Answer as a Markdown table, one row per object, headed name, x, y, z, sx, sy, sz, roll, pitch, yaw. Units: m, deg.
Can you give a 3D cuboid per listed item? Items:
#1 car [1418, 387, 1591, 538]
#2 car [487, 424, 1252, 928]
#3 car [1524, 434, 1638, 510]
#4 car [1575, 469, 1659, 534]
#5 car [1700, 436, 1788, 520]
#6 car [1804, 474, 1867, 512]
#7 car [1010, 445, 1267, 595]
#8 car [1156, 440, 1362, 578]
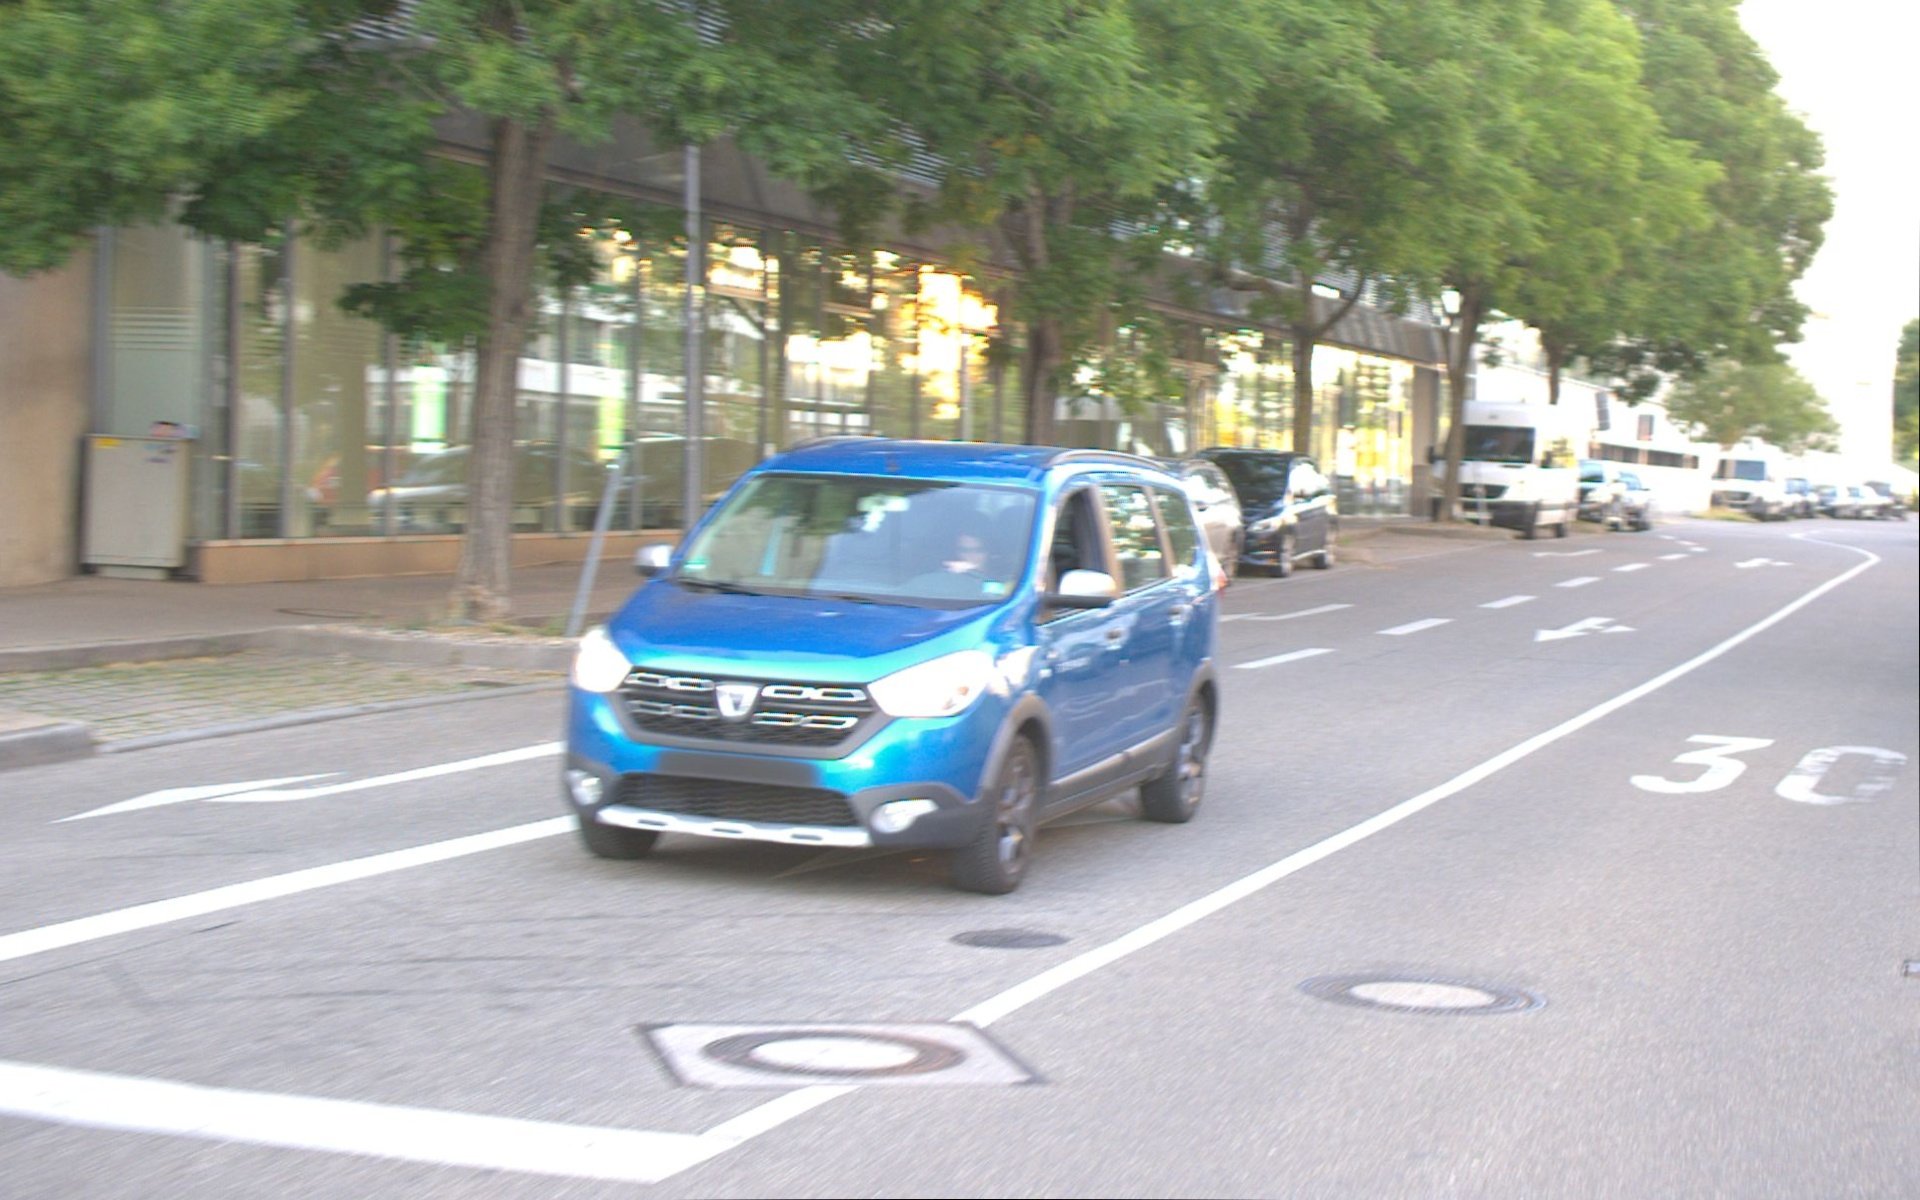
| name | x | y | z | sx | sy | sz | roll | pitch | yaw |
| --- | --- | --- | --- | --- | --- | --- | --- | --- | --- |
| car | 10.442 | -2.626 | 65.473 | 2.102 | 2.654 | 6.946 | 3 | 3 | 18 |
| car | -0.182 | 0.175 | 14.163 | 1.749 | 1.672 | 4.270 | 3 | 3 | 18 |
| car | 13.687 | -2.826 | 75.585 | 1.846 | 1.566 | 4.264 | 3 | 3 | 18 |
| car | 15.792 | -2.386 | 82.517 | 1.716 | 1.447 | 4.397 | 3 | 3 | 13 |
| car | 26.433 | -4.132 | 115.693 | 1.960 | 2.607 | 6.886 | 5 | 4 | 19 |
| car | 36.591 | -4.489 | 143.639 | 1.725 | 1.452 | 4.266 | 5 | 4 | 24 |
| car | 2.098 | -0.957 | 39.032 | 1.705 | 1.456 | 4.623 | 6 | 4 | 17 |
| car | 3.914 | -1.215 | 44.356 | 1.591 | 1.563 | 4.468 | 6 | 4 | 17 |
